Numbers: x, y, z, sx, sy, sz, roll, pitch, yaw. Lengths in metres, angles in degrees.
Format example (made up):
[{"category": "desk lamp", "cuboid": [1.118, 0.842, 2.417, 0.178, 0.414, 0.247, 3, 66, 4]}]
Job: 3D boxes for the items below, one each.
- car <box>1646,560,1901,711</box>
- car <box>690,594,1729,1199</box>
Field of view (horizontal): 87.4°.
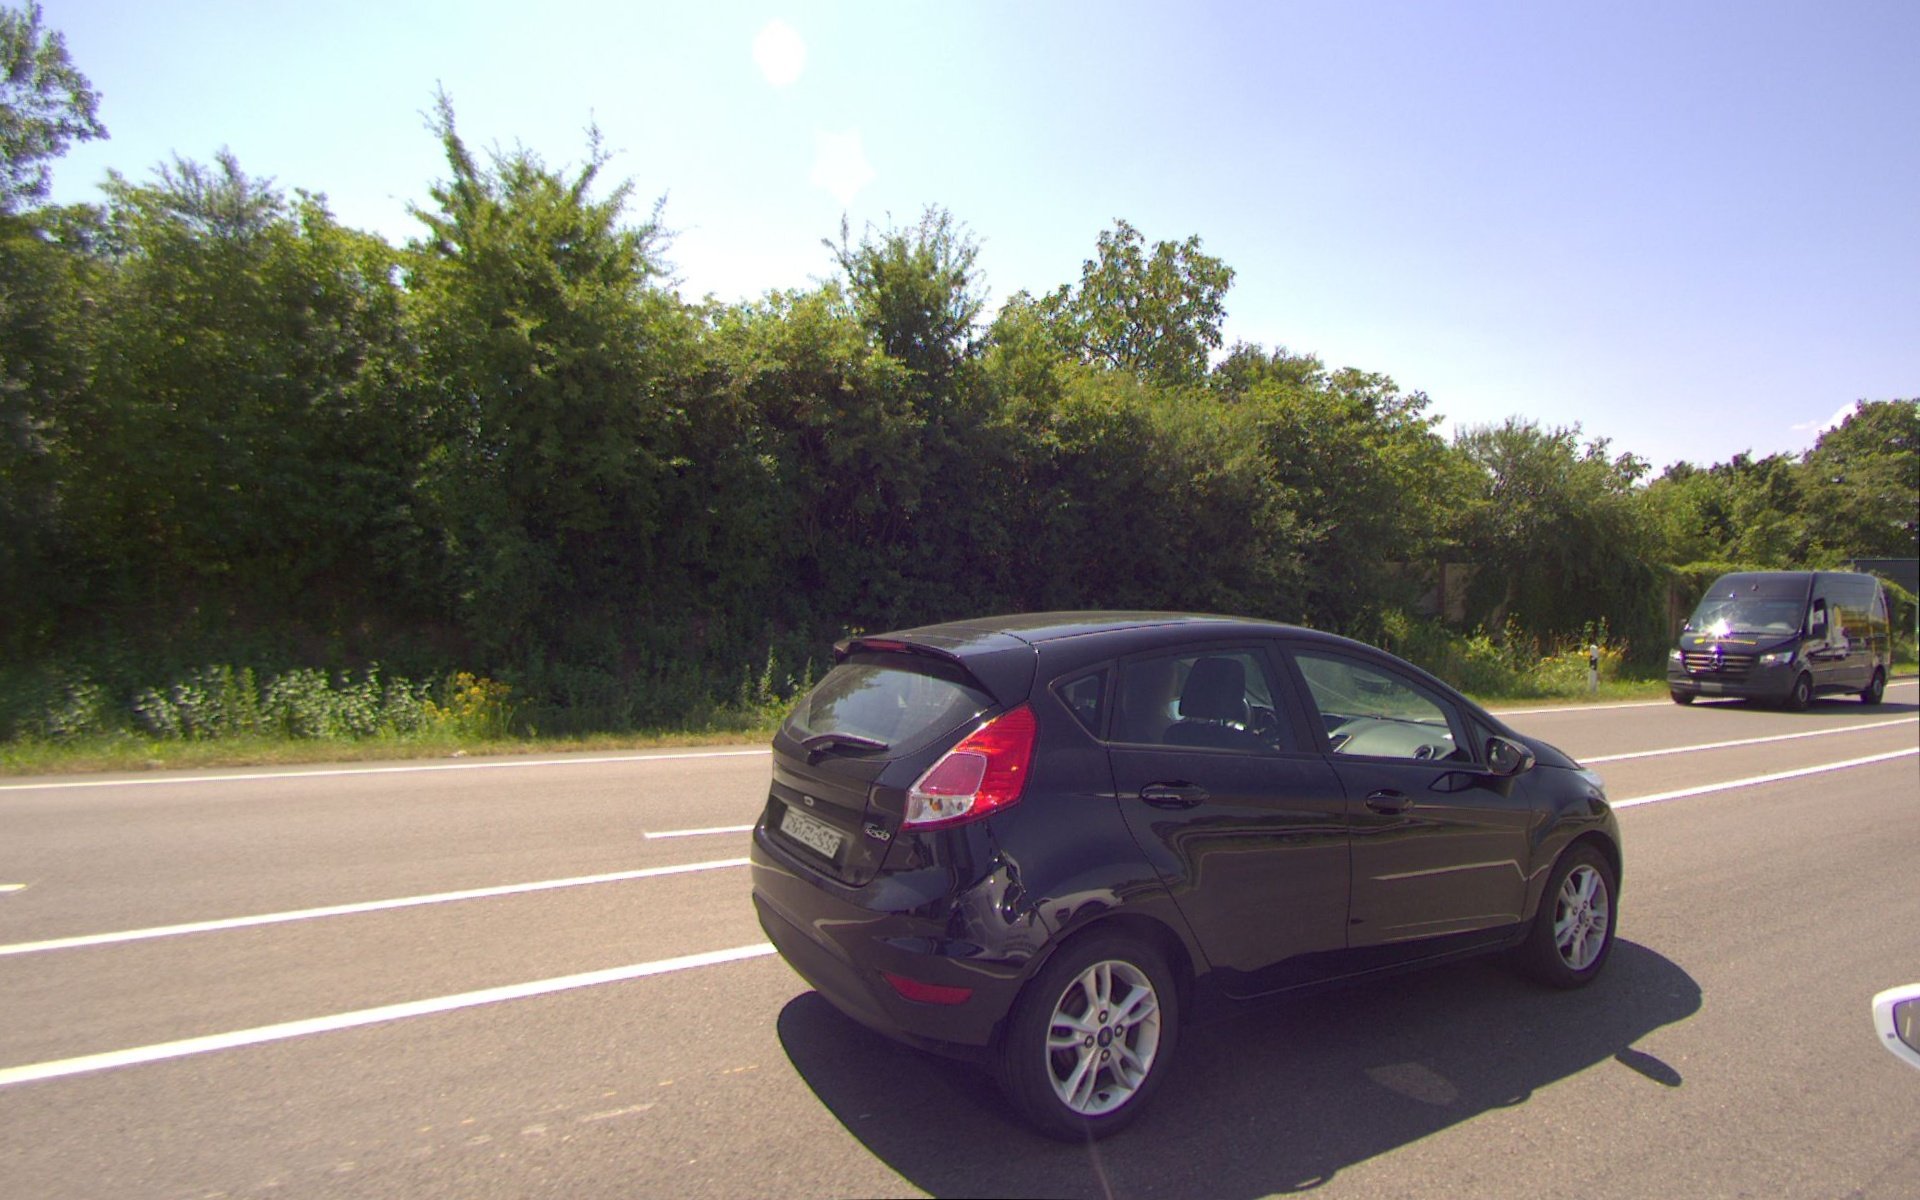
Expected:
[{"category": "car", "cuboid": [16.051, 0.658, 19.701, 5.973, 2.575, 2.174, 1, 0, -34]}, {"category": "car", "cuboid": [1.186, 0.751, 4.092, 4.158, 1.514, 1.645, 0, 1, -30]}]
